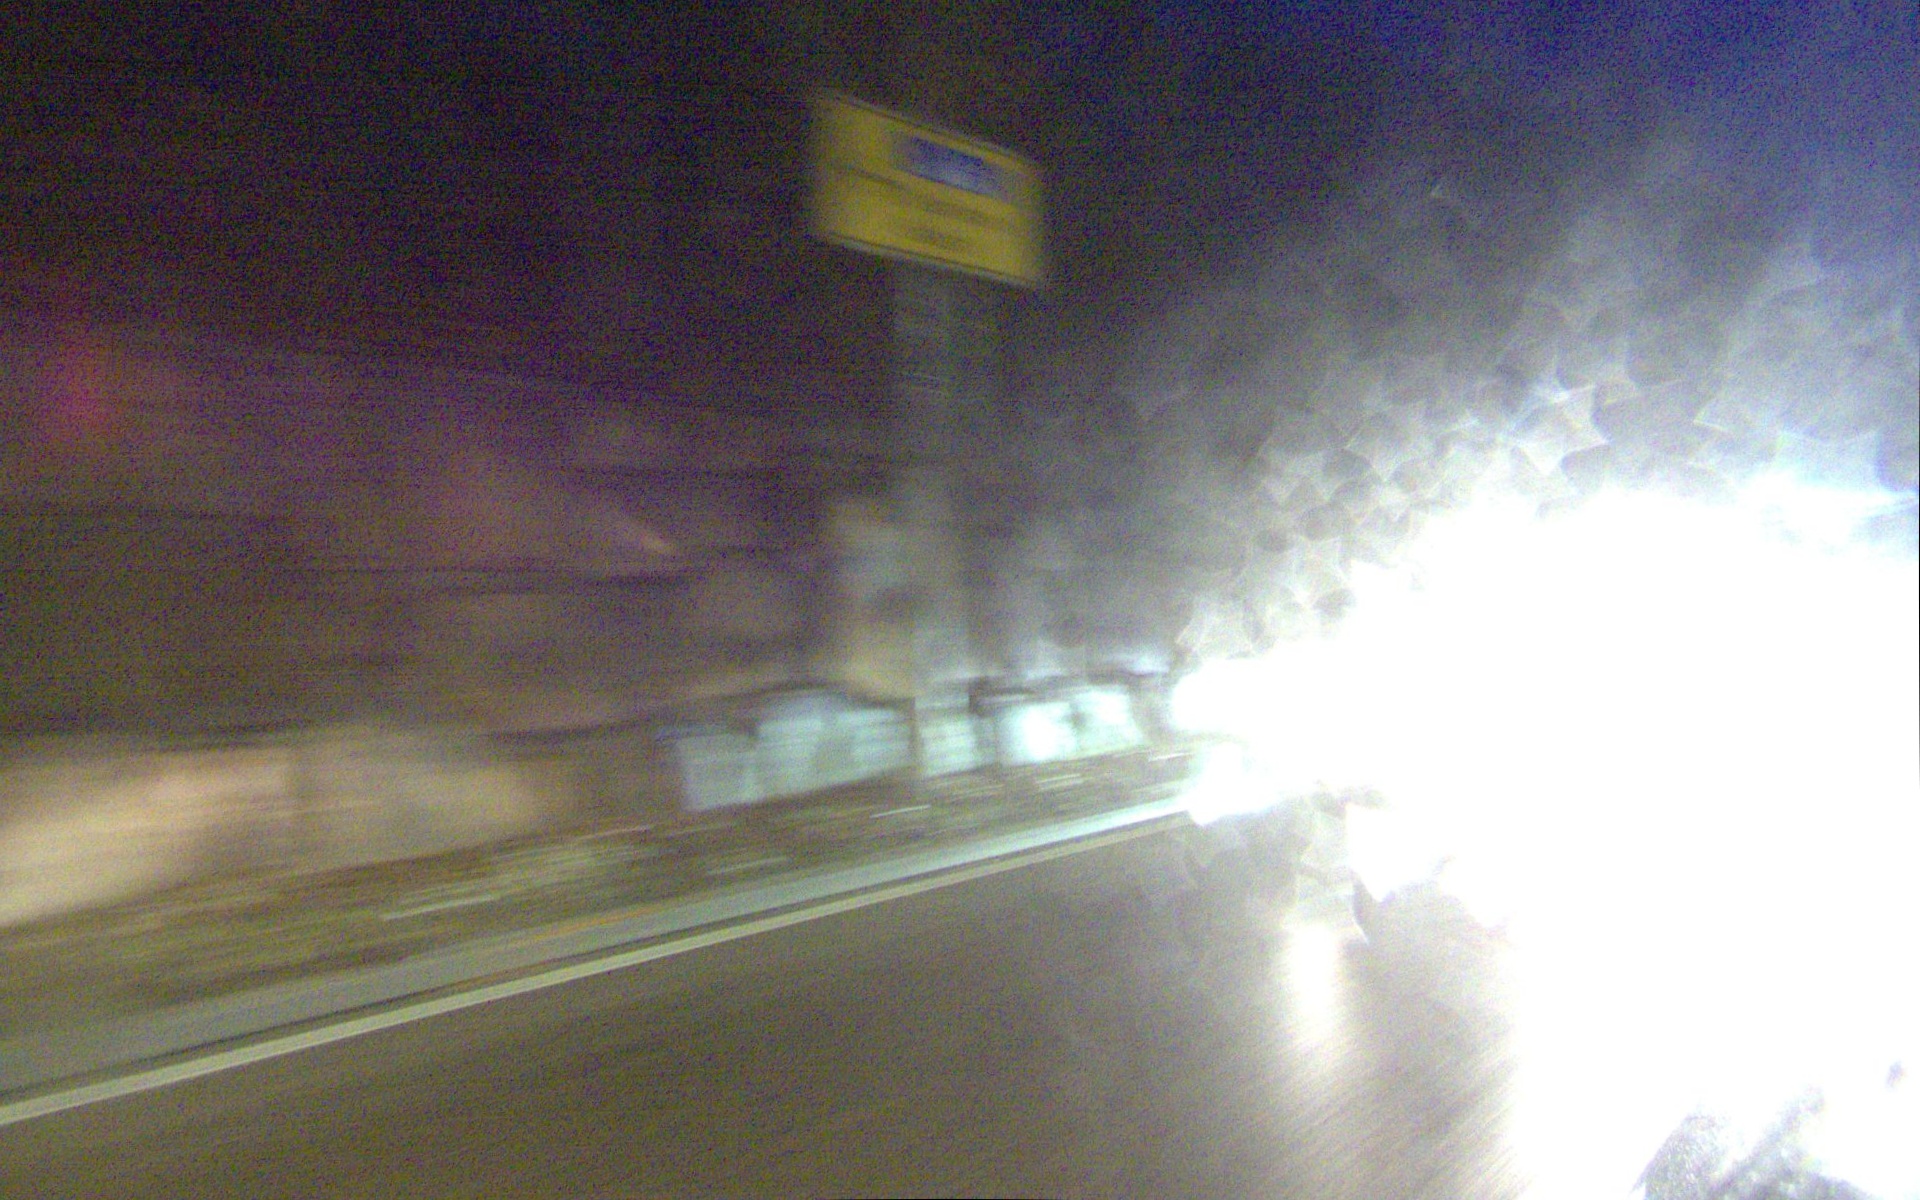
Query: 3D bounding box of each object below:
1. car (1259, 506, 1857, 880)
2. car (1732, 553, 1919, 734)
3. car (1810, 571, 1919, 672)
[{"bbox_3d":[4.153,0.358,6.619,4.802,1.608,1.877,-1,0,-40],"label":"car"},{"bbox_3d":[10.903,0.408,12.070,4.124,1.835,1.793,-1,0,-39],"label":"car"},{"bbox_3d":[16.582,0.290,17.452,4.608,1.572,1.999,-1,0,-38],"label":"car"}]
